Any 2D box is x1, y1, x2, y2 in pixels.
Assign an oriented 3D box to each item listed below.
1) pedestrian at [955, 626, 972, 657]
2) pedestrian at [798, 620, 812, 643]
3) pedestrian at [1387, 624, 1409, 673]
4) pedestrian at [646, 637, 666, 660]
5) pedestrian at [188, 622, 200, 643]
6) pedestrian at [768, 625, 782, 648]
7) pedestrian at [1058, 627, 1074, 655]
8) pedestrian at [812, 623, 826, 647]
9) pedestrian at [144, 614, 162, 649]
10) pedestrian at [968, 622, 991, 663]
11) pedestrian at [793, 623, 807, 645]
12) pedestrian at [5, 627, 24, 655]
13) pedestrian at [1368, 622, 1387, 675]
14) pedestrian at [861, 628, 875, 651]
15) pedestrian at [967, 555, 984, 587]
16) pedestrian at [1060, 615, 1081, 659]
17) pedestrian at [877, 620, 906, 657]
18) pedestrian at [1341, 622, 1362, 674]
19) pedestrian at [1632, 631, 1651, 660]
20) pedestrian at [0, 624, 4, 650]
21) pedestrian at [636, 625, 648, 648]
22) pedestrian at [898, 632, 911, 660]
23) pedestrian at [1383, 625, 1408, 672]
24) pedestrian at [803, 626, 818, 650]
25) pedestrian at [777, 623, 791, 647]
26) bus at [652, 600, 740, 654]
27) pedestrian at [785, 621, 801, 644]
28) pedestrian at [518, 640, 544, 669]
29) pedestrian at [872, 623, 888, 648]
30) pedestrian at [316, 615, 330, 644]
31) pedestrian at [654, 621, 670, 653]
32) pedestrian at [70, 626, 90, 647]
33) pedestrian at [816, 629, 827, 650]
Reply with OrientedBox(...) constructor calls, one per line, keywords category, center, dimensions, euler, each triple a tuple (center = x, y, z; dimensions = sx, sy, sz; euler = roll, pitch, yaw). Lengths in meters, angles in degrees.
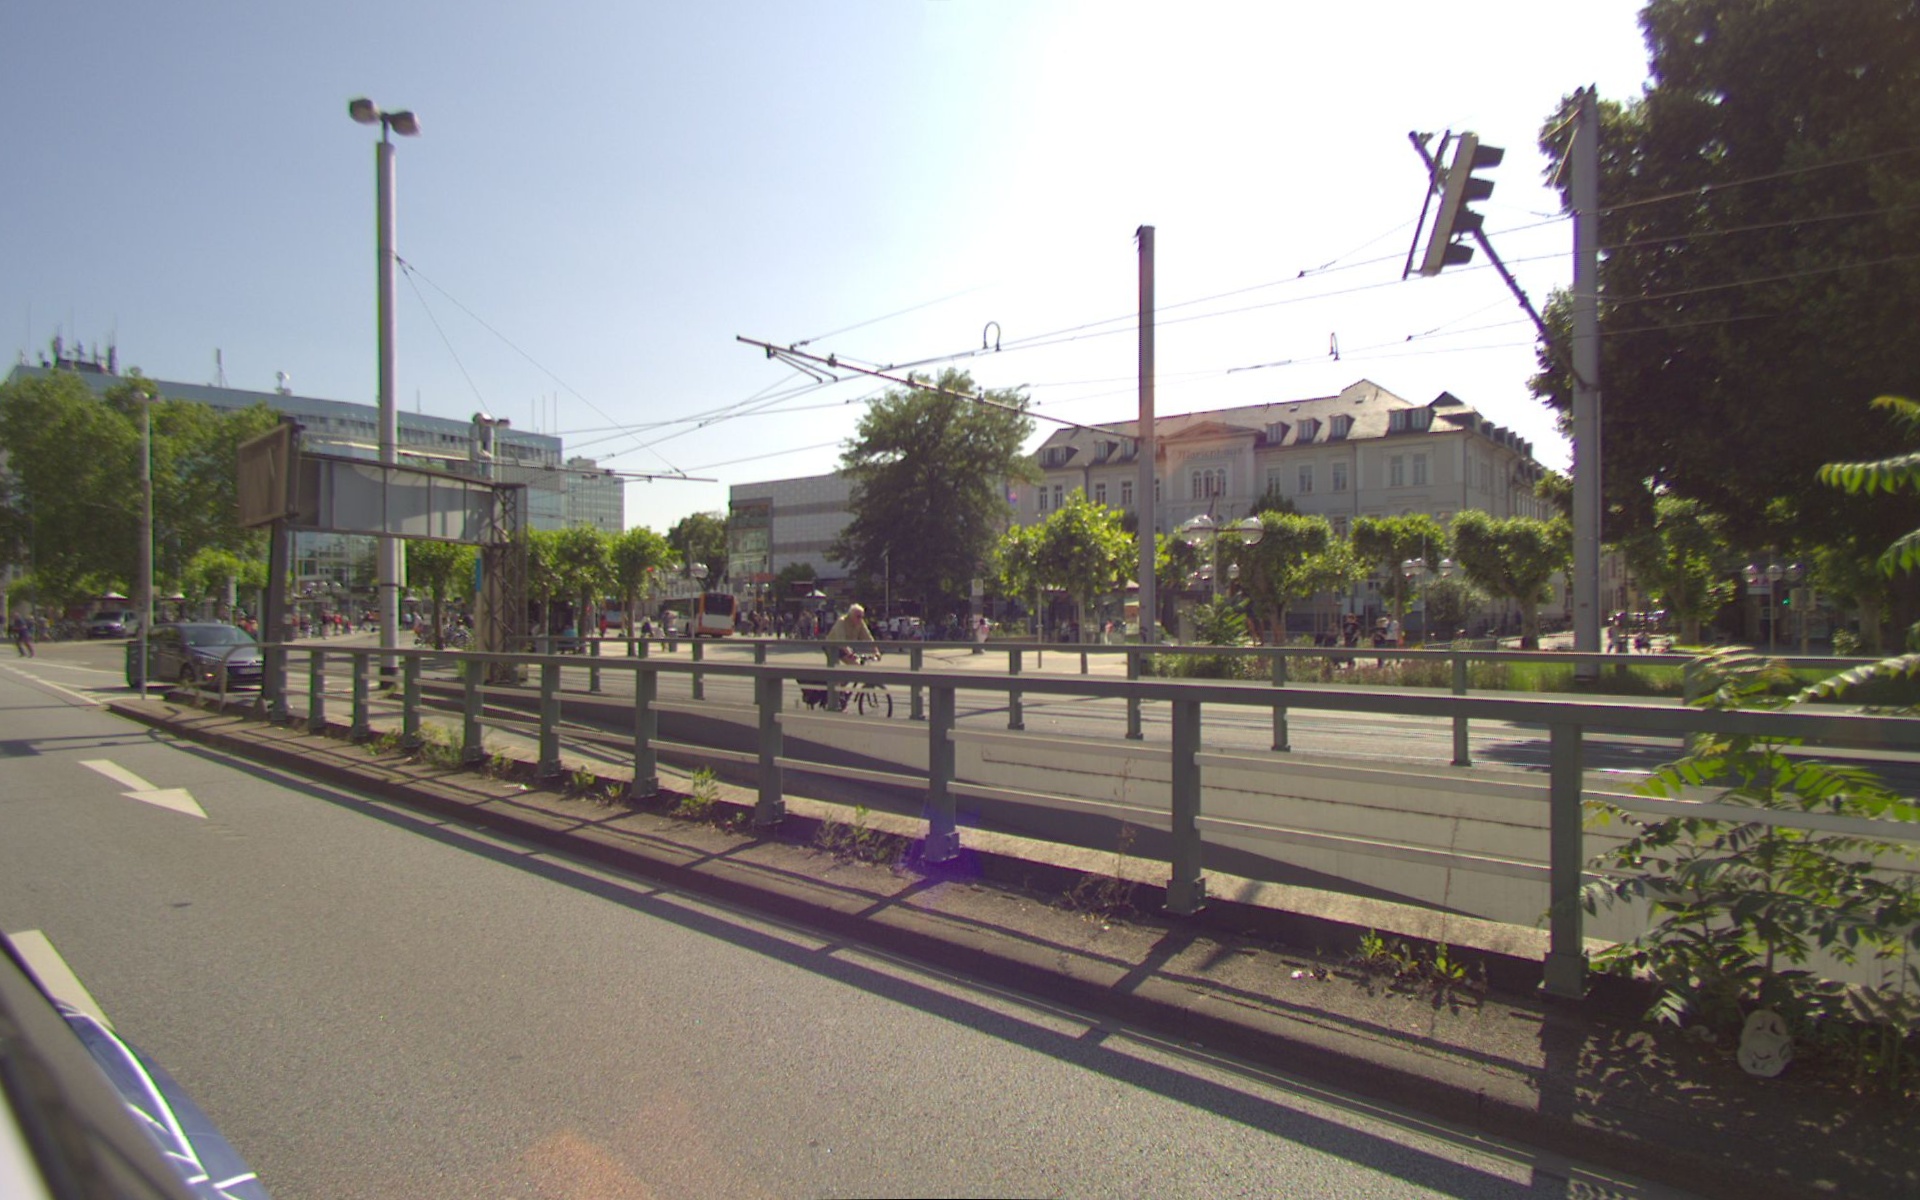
OrientedBox(category="pedestrian", center=(0.178, 2.175, 53.494), dimensions=(0.616, 1.611, 0.735), euler=(-1, -2, 29))
OrientedBox(category="pedestrian", center=(-9.828, 1.993, 64.154), dimensions=(0.679, 1.477, 0.617), euler=(-1, -3, 36))
OrientedBox(category="pedestrian", center=(14.823, 1.634, 34.229), dimensions=(0.618, 1.621, 0.488), euler=(-1, -3, 32))
OrientedBox(category="pedestrian", center=(-13.578, 2.157, 45.202), dimensions=(0.580, 1.008, 0.627), euler=(-2, -3, 44))
OrientedBox(category="pedestrian", center=(-63.579, 2.671, 84.012), dimensions=(0.629, 1.705, 0.754), euler=(-2, 2, -26))
OrientedBox(category="pedestrian", center=(-11.934, 2.382, 65.321), dimensions=(0.679, 1.477, 0.617), euler=(-2, -3, 38))
OrientedBox(category="pedestrian", center=(5.381, 2.078, 51.281), dimensions=(0.598, 1.369, 0.562), euler=(-1, -2, 40))
OrientedBox(category="pedestrian", center=(-8.900, 2.224, 63.859), dimensions=(0.679, 1.477, 0.617), euler=(-1, -3, 36))
OrientedBox(category="pedestrian", center=(-47.966, 1.872, 60.131), dimensions=(0.563, 2.022, 0.686), euler=(0, 0, 32))
OrientedBox(category="pedestrian", center=(0.853, 1.829, 43.686), dimensions=(0.705, 1.719, 0.670), euler=(-1, -2, 40))
OrientedBox(category="pedestrian", center=(-10.576, 2.245, 66.818), dimensions=(0.679, 1.477, 0.617), euler=(-1, -3, 36))
OrientedBox(category="pedestrian", center=(-59.390, 2.561, 63.566), dimensions=(0.640, 1.704, 0.637), euler=(-1, 2, 28))
OrientedBox(category="pedestrian", center=(12.908, 1.508, 31.292), dimensions=(0.493, 1.621, 0.410), euler=(-1, -3, 32))
OrientedBox(category="pedestrian", center=(-5.139, 2.181, 56.623), dimensions=(0.572, 1.273, 0.624), euler=(1, -2, -35))
OrientedBox(category="pedestrian", center=(0.861, -1.596, 56.696), dimensions=(0.619, 1.741, 0.732), euler=(-1, -2, 40))
OrientedBox(category="pedestrian", center=(5.100, 1.706, 46.662), dimensions=(0.621, 2.023, 0.736), euler=(2, -3, -43))
OrientedBox(category="pedestrian", center=(-3.408, 1.903, 50.211), dimensions=(0.953, 1.807, 1.082), euler=(2, -3, -40))
OrientedBox(category="pedestrian", center=(12.289, 1.499, 31.758), dimensions=(0.466, 1.621, 0.447), euler=(-2, -3, 42))
OrientedBox(category="pedestrian", center=(29.844, 1.979, 44.306), dimensions=(0.525, 1.273, 0.574), euler=(-1, -3, 20))
OrientedBox(category="pedestrian", center=(-66.008, 2.523, 69.239), dimensions=(0.666, 1.760, 0.742), euler=(-1, 2, 40))
OrientedBox(category="pedestrian", center=(-21.064, 2.418, 67.005), dimensions=(0.585, 1.477, 0.522), euler=(-1, -3, 22))
OrientedBox(category="pedestrian", center=(-2.583, 2.137, 47.254), dimensions=(0.479, 1.273, 0.400), euler=(-1, -3, 23))
OrientedBox(category="pedestrian", center=(14.259, 1.580, 33.163), dimensions=(0.659, 1.504, 0.520), euler=(-1, -3, 33))
OrientedBox(category="pedestrian", center=(-9.289, 2.374, 62.847), dimensions=(0.616, 1.477, 0.681), euler=(3, -3, -44))
OrientedBox(category="pedestrian", center=(-11.218, 2.223, 64.520), dimensions=(0.679, 1.477, 0.617), euler=(-1, -3, 36))
OrientedBox(category="bus", center=(-19.775, 1.868, 75.100), dimensions=(3.014, 3.445, 12.499), euler=(-3, 2, -30))
OrientedBox(category="pedestrian", center=(-11.149, 2.170, 67.600), dimensions=(0.741, 1.477, 0.780), euler=(-1, -3, 36))
OrientedBox(category="pedestrian", center=(-17.572, 2.235, 41.475), dimensions=(0.751, 1.180, 0.669), euler=(-1, -3, 35))
OrientedBox(category="pedestrian", center=(-4.047, 1.810, 51.244), dimensions=(0.613, 1.273, 0.583), euler=(2, -3, -40))
OrientedBox(category="pedestrian", center=(-41.735, 1.932, 66.280), dimensions=(0.605, 1.830, 0.570), euler=(-2, -3, 41))
OrientedBox(category="pedestrian", center=(-15.199, 1.913, 51.632), dimensions=(0.549, 1.620, 0.600), euler=(-2, -3, 44))
OrientedBox(category="pedestrian", center=(-60.175, 2.493, 69.198), dimensions=(0.780, 1.418, 0.744), euler=(-1, 2, 31))
OrientedBox(category="pedestrian", center=(-8.509, 2.401, 62.140), dimensions=(0.511, 1.272, 0.453), euler=(3, -3, -44))
